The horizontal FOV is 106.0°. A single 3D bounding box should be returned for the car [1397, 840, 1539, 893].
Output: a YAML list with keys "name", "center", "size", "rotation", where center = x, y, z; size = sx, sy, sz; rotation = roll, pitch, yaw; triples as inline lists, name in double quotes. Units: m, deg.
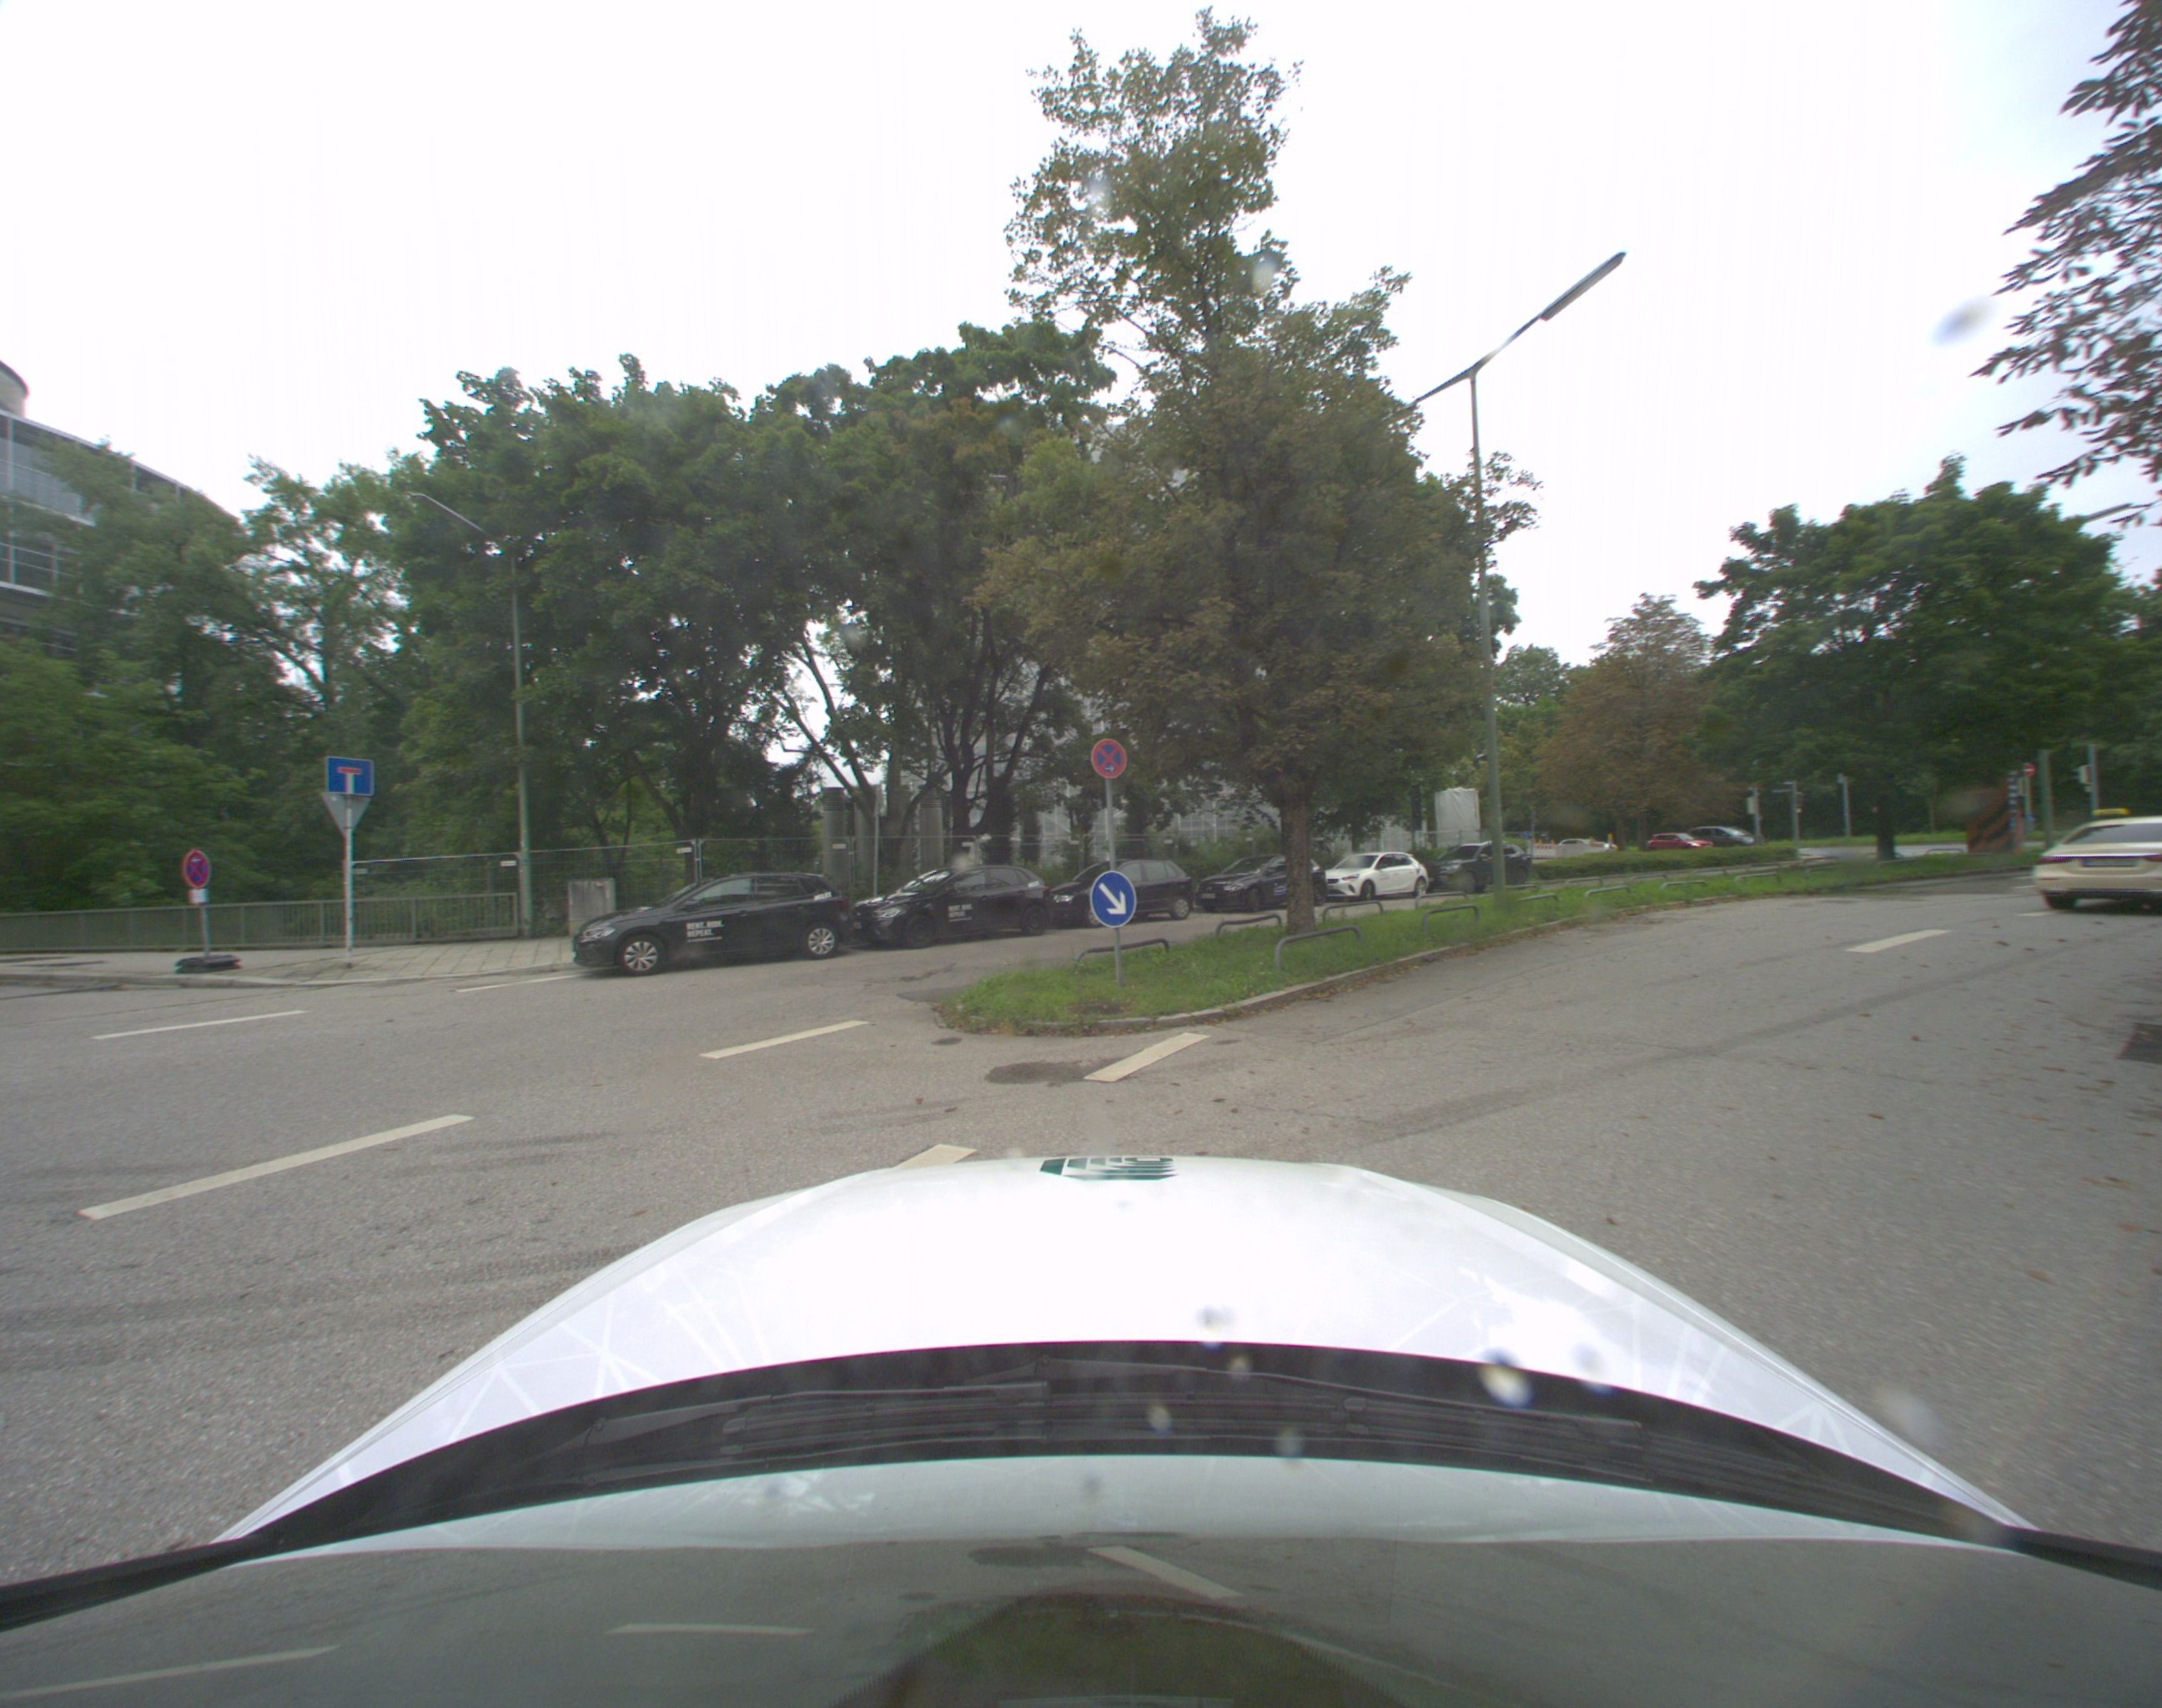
- name: "car"
  center: [12.717, 0.410, 26.741]
  size: [4.405, 1.606, 1.875]
  rotation: [0, -2, -27]

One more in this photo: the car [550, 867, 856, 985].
- name: "car"
  center: [-5.928, 0.998, 12.945]
  size: [4.061, 1.432, 1.978]
  rotation: [-2, 1, -37]

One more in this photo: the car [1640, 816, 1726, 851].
- name: "car"
  center: [39.570, -1.315, 53.655]
  size: [1.999, 2.014, 4.131]
  rotation: [-2, -1, -18]

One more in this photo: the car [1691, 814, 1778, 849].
- name: "car"
  center: [42.853, -1.440, 53.488]
  size: [1.999, 2.014, 3.975]
  rotation: [-2, -1, -18]

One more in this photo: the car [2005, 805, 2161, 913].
- name: "car"
  center: [17.540, 0.001, 13.216]
  size: [4.858, 1.545, 1.879]
  rotation: [-2, -1, -23]

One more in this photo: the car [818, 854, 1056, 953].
- name: "car"
  center: [-2.701, 0.846, 15.620]
  size: [4.019, 1.541, 1.977]
  rotation: [-2, 0, -38]

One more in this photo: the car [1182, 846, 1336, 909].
- name: "car"
  center: [4.794, 0.608, 21.724]
  size: [4.025, 1.461, 1.819]
  rotation: [-2, -2, -38]

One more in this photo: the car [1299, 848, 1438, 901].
- name: "car"
  center: [8.700, 0.612, 24.563]
  size: [4.236, 1.383, 1.782]
  rotation: [-2, -2, -35]

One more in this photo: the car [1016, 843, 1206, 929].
- name: "car"
  center: [0.741, 0.650, 18.683]
  size: [4.019, 1.706, 1.977]
  rotation: [-2, 0, -38]
